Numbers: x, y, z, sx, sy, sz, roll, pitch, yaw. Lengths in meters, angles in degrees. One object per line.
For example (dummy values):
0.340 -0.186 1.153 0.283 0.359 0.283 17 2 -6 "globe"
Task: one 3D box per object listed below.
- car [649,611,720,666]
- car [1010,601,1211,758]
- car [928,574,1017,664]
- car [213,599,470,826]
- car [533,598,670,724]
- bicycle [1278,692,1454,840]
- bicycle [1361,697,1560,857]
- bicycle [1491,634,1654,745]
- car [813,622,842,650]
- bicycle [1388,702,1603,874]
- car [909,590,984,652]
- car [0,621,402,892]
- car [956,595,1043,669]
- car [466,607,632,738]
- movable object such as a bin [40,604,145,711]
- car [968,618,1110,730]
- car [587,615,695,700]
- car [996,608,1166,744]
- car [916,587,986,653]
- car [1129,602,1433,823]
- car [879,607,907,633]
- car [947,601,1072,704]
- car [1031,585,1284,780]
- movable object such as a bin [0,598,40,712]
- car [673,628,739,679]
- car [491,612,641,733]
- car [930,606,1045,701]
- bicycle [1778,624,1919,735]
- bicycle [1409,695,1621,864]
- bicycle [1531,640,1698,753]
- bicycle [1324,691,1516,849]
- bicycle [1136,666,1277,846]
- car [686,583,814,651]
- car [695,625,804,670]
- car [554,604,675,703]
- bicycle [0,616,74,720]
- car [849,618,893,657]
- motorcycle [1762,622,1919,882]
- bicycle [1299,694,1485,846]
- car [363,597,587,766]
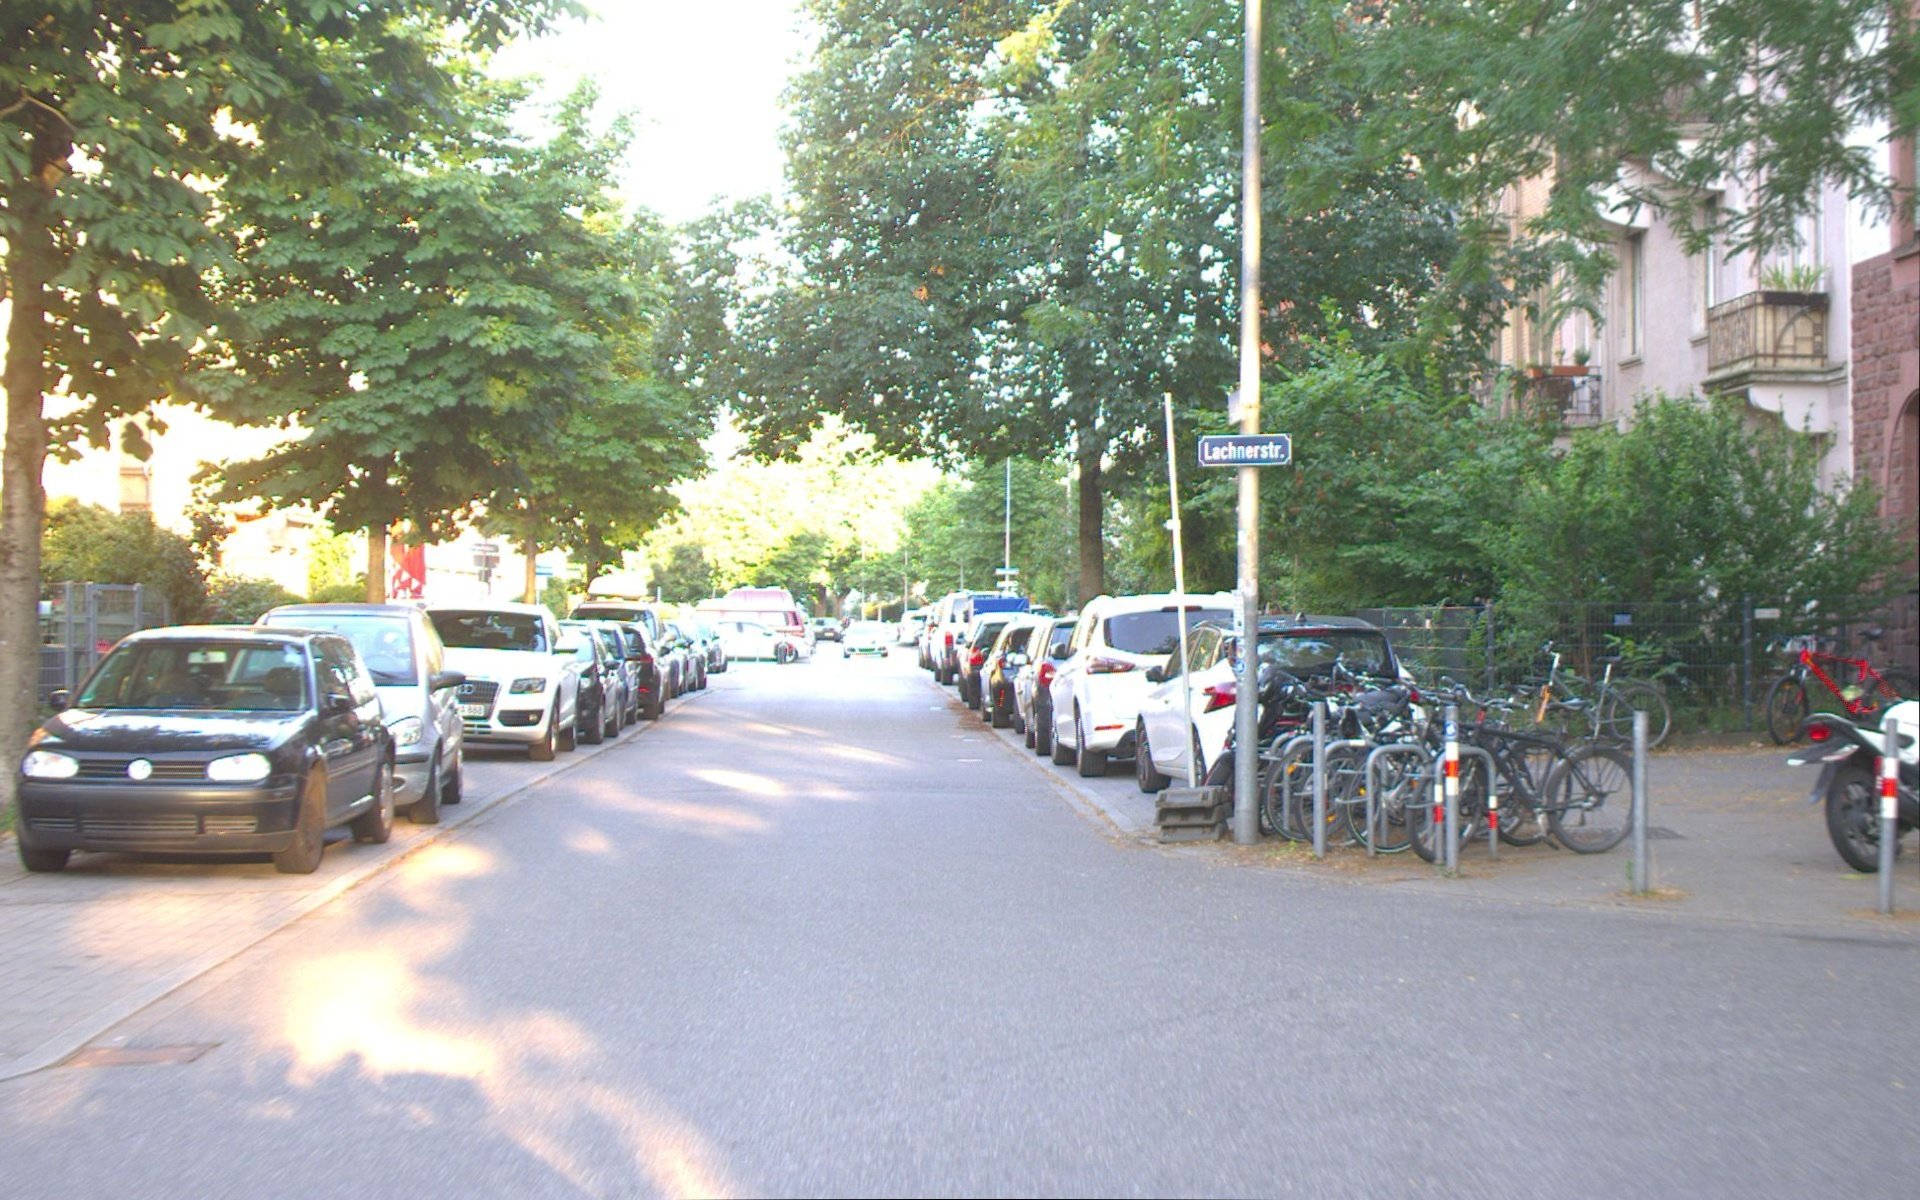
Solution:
-7.623 1.080 95.467 1.715 1.481 3.630 0 -1 -1 "car"
1.570 0.837 37.292 1.686 1.601 4.210 0 -1 -4 "car"
0.251 0.420 76.230 1.680 1.934 3.881 0 -1 -4 "car"
-4.658 0.800 26.284 1.595 1.598 3.745 0 0 -5 "car"
-5.305 0.872 51.269 1.715 1.784 4.216 0 0 -2 "car"
2.759 1.118 23.349 1.224 0.948 0.330 -1 1 -29 "bicycle"
3.154 1.107 21.650 1.223 0.960 0.330 -1 1 -18 "bicycle"
5.940 0.861 33.357 1.509 1.030 0.330 -1 1 -3 "bicycle"
-7.910 2.150 205.643 1.715 1.591 3.483 0 0 -2 "car"
3.226 1.129 20.732 1.224 0.984 0.330 -1 1 -3 "bicycle"
-0.379 0.560 90.672 1.686 1.601 3.940 0 -1 -4 "car"
-4.588 0.885 21.121 1.616 1.465 3.961 0 0 1 "car"
0.803 0.668 72.517 1.538 1.516 3.432 0 -1 -4 "car"
-5.084 0.892 42.903 1.715 1.561 3.781 0 -1 -2 "car"
-11.138 0.731 44.167 1.013 1.316 1.005 2 0 3 "movable object such as a bin"
1.056 1.007 47.852 1.686 1.436 4.210 -2 -1 -2 "car"
-5.822 1.032 63.056 1.715 1.460 3.987 0 0 -2 "car"
1.454 0.921 42.538 1.686 1.601 3.749 0 -1 -4 "car"
-0.282 0.581 96.834 1.686 1.805 3.940 0 -1 -4 "car"
2.426 0.818 26.821 1.686 1.587 3.659 0 0 -6 "car"
-4.184 1.256 215.212 1.715 1.591 3.483 0 0 -2 "car"
0.773 0.844 55.939 1.686 1.601 3.940 0 -1 -4 "car"
1.790 0.751 32.628 1.798 1.705 4.601 0 -1 -4 "car"
-12.370 0.688 43.972 1.096 1.409 1.005 2 0 -15 "movable object such as a bin"
-7.464 1.567 101.398 1.715 1.436 3.630 0 0 -1 "car"
-5.357 0.955 47.075 1.715 1.561 3.788 0 0 -2 "car"
0.443 0.922 60.256 1.686 1.601 3.940 0 -1 -4 "car"
8.681 0.759 33.118 1.509 1.030 0.330 -1 1 -3 "bicycle"
3.406 1.096 21.113 1.224 0.984 0.330 -1 1 -5 "bicycle"
6.249 0.918 32.844 1.509 1.030 0.330 -1 1 -3 "bicycle"
2.951 1.079 22.039 1.224 0.954 0.330 -1 1 -23 "bicycle"
1.699 1.044 23.548 0.444 1.169 1.634 0 0 23 "bicycle"
-7.247 0.590 118.600 4.349 2.310 1.746 0 0 -3 "car"
-7.112 1.591 115.822 3.618 1.456 1.607 0 0 -5 "car"
-5.810 0.883 58.251 1.715 1.591 4.519 0 0 -2 "car"
-12.113 0.779 41.697 2.529 1.188 0.643 3 0 4 "bicycle"
-3.733 1.564 143.394 1.813 1.591 3.483 0 0 -2 "car"
5.535 0.853 20.228 0.585 1.403 2.207 1 1 42 "motorcycle"
2.858 1.116 22.737 1.224 0.944 0.330 -1 1 -23 "bicycle"
-5.204 0.837 37.385 1.921 1.711 4.428 0 0 -2 "car"
